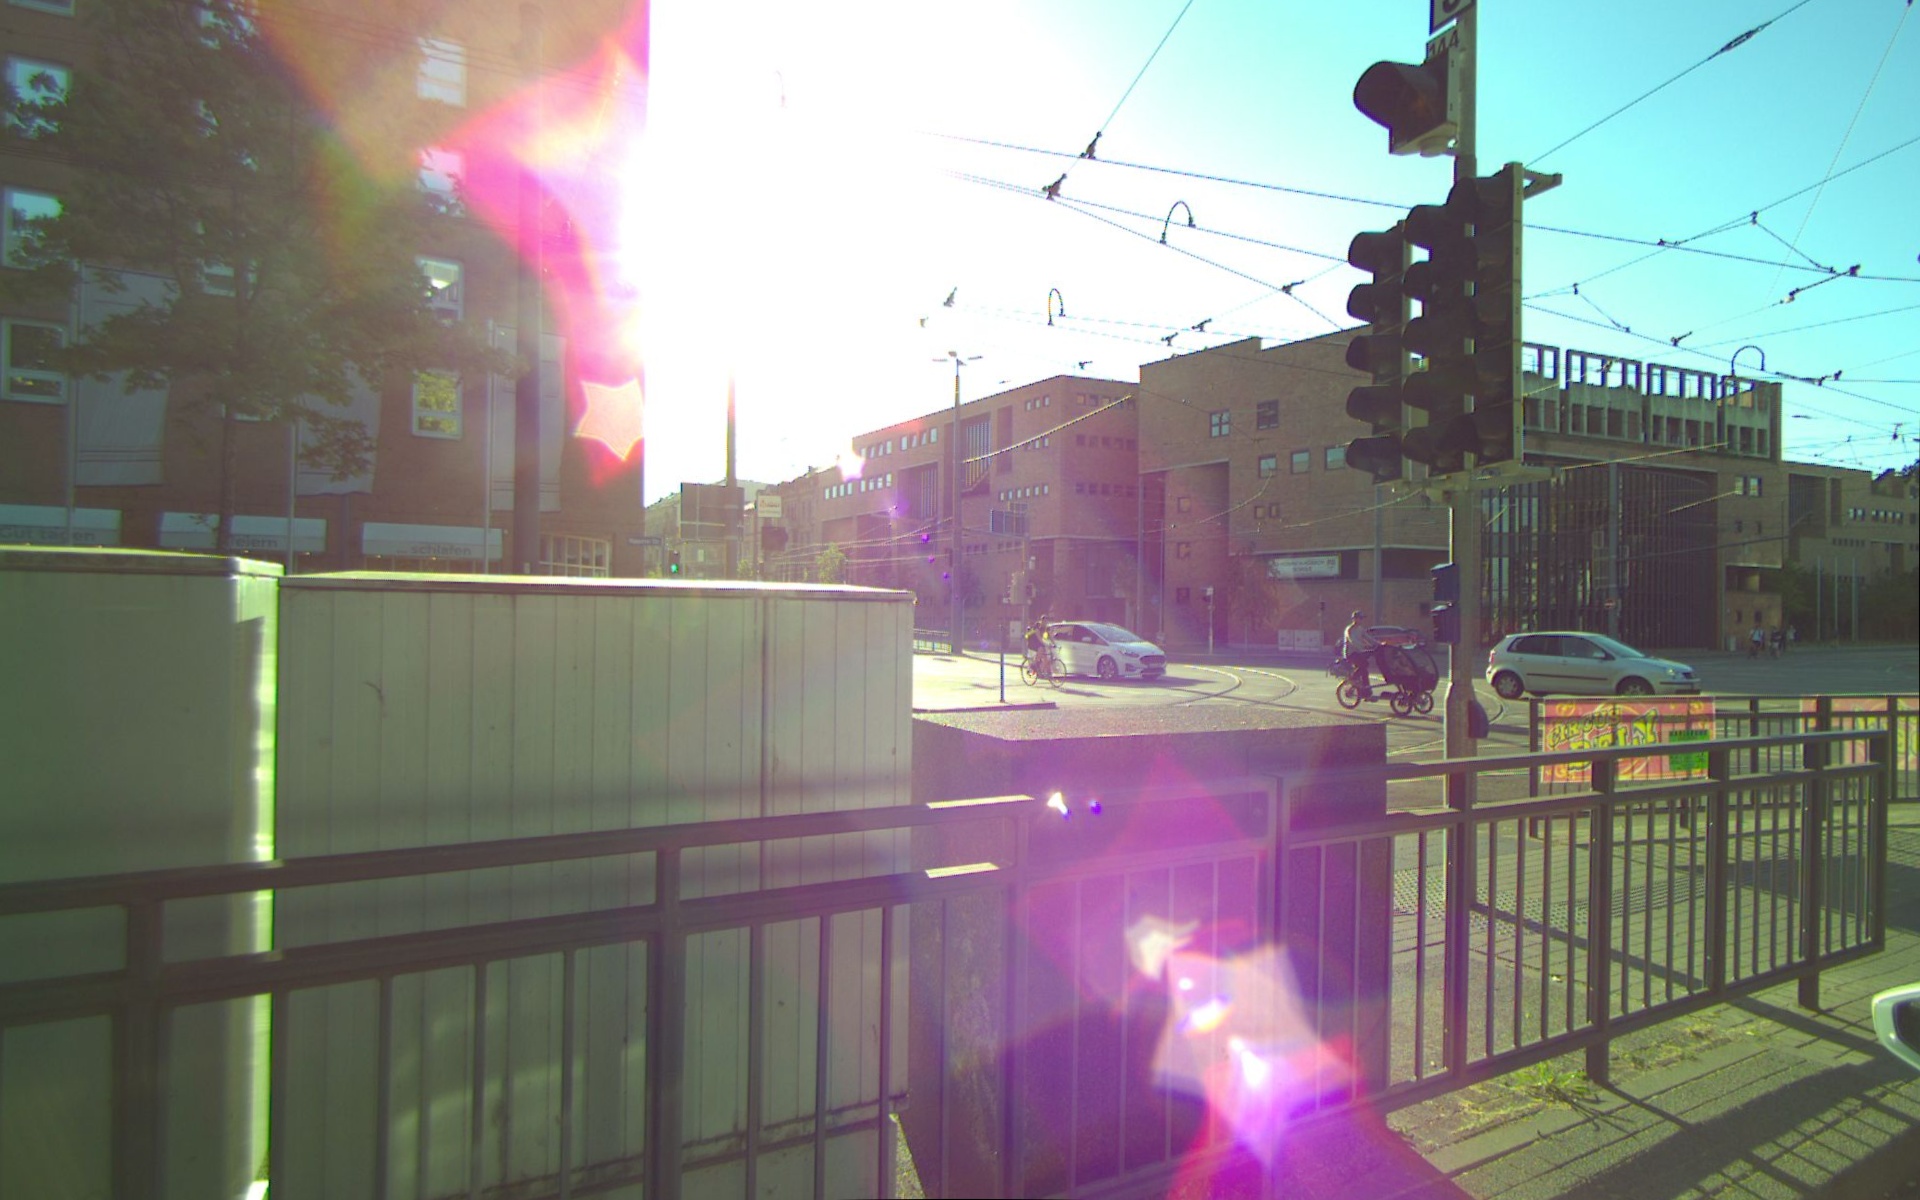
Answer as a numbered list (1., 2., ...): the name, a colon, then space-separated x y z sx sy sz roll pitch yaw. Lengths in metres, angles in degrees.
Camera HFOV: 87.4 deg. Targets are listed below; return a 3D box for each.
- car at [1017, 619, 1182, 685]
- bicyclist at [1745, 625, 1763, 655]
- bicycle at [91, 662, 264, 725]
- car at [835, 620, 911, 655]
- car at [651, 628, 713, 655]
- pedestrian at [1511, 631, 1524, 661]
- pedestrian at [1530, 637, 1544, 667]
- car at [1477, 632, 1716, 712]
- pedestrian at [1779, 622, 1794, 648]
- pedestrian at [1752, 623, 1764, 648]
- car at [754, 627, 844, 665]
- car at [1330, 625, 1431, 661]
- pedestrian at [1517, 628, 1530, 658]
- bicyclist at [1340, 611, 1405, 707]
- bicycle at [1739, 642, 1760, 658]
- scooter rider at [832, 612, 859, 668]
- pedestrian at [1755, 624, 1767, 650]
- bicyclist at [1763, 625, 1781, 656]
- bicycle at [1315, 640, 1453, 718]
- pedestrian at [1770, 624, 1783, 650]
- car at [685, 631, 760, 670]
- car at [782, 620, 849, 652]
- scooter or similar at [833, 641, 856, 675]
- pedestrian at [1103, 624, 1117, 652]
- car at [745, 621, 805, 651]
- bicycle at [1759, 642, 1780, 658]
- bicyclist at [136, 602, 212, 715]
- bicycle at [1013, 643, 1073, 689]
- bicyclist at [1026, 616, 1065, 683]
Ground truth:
1. car: 3.961 1.438 29.347 1.982 1.750 4.798 1 -1 -37
2. bicyclist: 44.568 2.239 56.385 0.782 1.697 0.589 1 -1 -36
3. bicycle: -12.924 1.523 16.687 2.156 0.946 0.663 1 -1 -27
4. car: -4.554 1.908 52.081 1.981 1.719 4.316 1 -2 -36
5. car: -15.476 2.287 55.787 1.980 1.398 4.351 1 -2 -35
6. pedestrian: 31.392 2.580 56.570 0.530 1.672 0.622 0 -1 41
7. pedestrian: 32.568 2.917 56.687 0.530 1.672 0.622 -1 -2 41
8. car: 13.241 1.428 21.098 1.806 1.453 3.884 1 -1 -34
9. pedestrian: 59.388 2.534 72.200 0.538 1.834 0.640 1 -1 -23
10. pedestrian: 58.489 2.601 73.628 0.538 1.834 0.489 1 -1 -23
11. car: -7.159 1.984 44.306 1.984 1.538 4.347 0 -1 -40
12. car: 20.377 2.049 48.773 1.781 1.623 4.206 1 -2 -40
13. pedestrian: 32.497 2.471 57.957 0.530 1.672 0.622 -1 -2 41
14. bicyclist: 7.562 1.058 18.435 0.682 1.703 0.901 1 -1 -26
15. bicycle: 44.395 2.805 56.459 1.823 0.893 0.509 1 -2 -38
16. scooter rider: -3.957 1.368 34.688 0.727 1.921 0.661 1 -2 -27
17. pedestrian: 58.602 2.712 73.511 0.538 1.834 0.489 1 -1 -23
18. bicyclist: 45.152 2.256 55.848 0.782 1.697 0.589 1 -1 -36
19. bicycle: 7.658 1.394 18.255 1.058 1.243 2.150 0 -1 -26
20. pedestrian: 58.195 2.649 71.565 0.538 1.803 0.521 1 -1 -23
21. car: -9.412 1.965 39.687 1.625 1.416 3.269 1 -2 -39
22. car: -8.196 2.023 56.740 1.981 1.719 4.316 1 -2 -36
23. scooter or similar: -4.011 1.997 34.709 0.397 1.119 1.202 1 -1 -26
24. pedestrian: 8.835 2.218 59.116 0.608 1.635 0.540 -1 2 -35
25. car: -11.394 2.189 61.750 1.981 1.719 4.316 1 -2 -36
26. bicycle: 45.047 2.775 55.902 1.823 0.893 0.509 1 -2 -38
27. bicyclist: -13.012 0.958 16.655 0.841 1.808 0.747 1 -1 -27
28. bicycle: 2.123 1.674 25.864 0.621 1.078 1.916 1 -1 -27
29. bicyclist: 2.188 1.246 25.746 0.631 1.686 0.901 1 -1 -27
